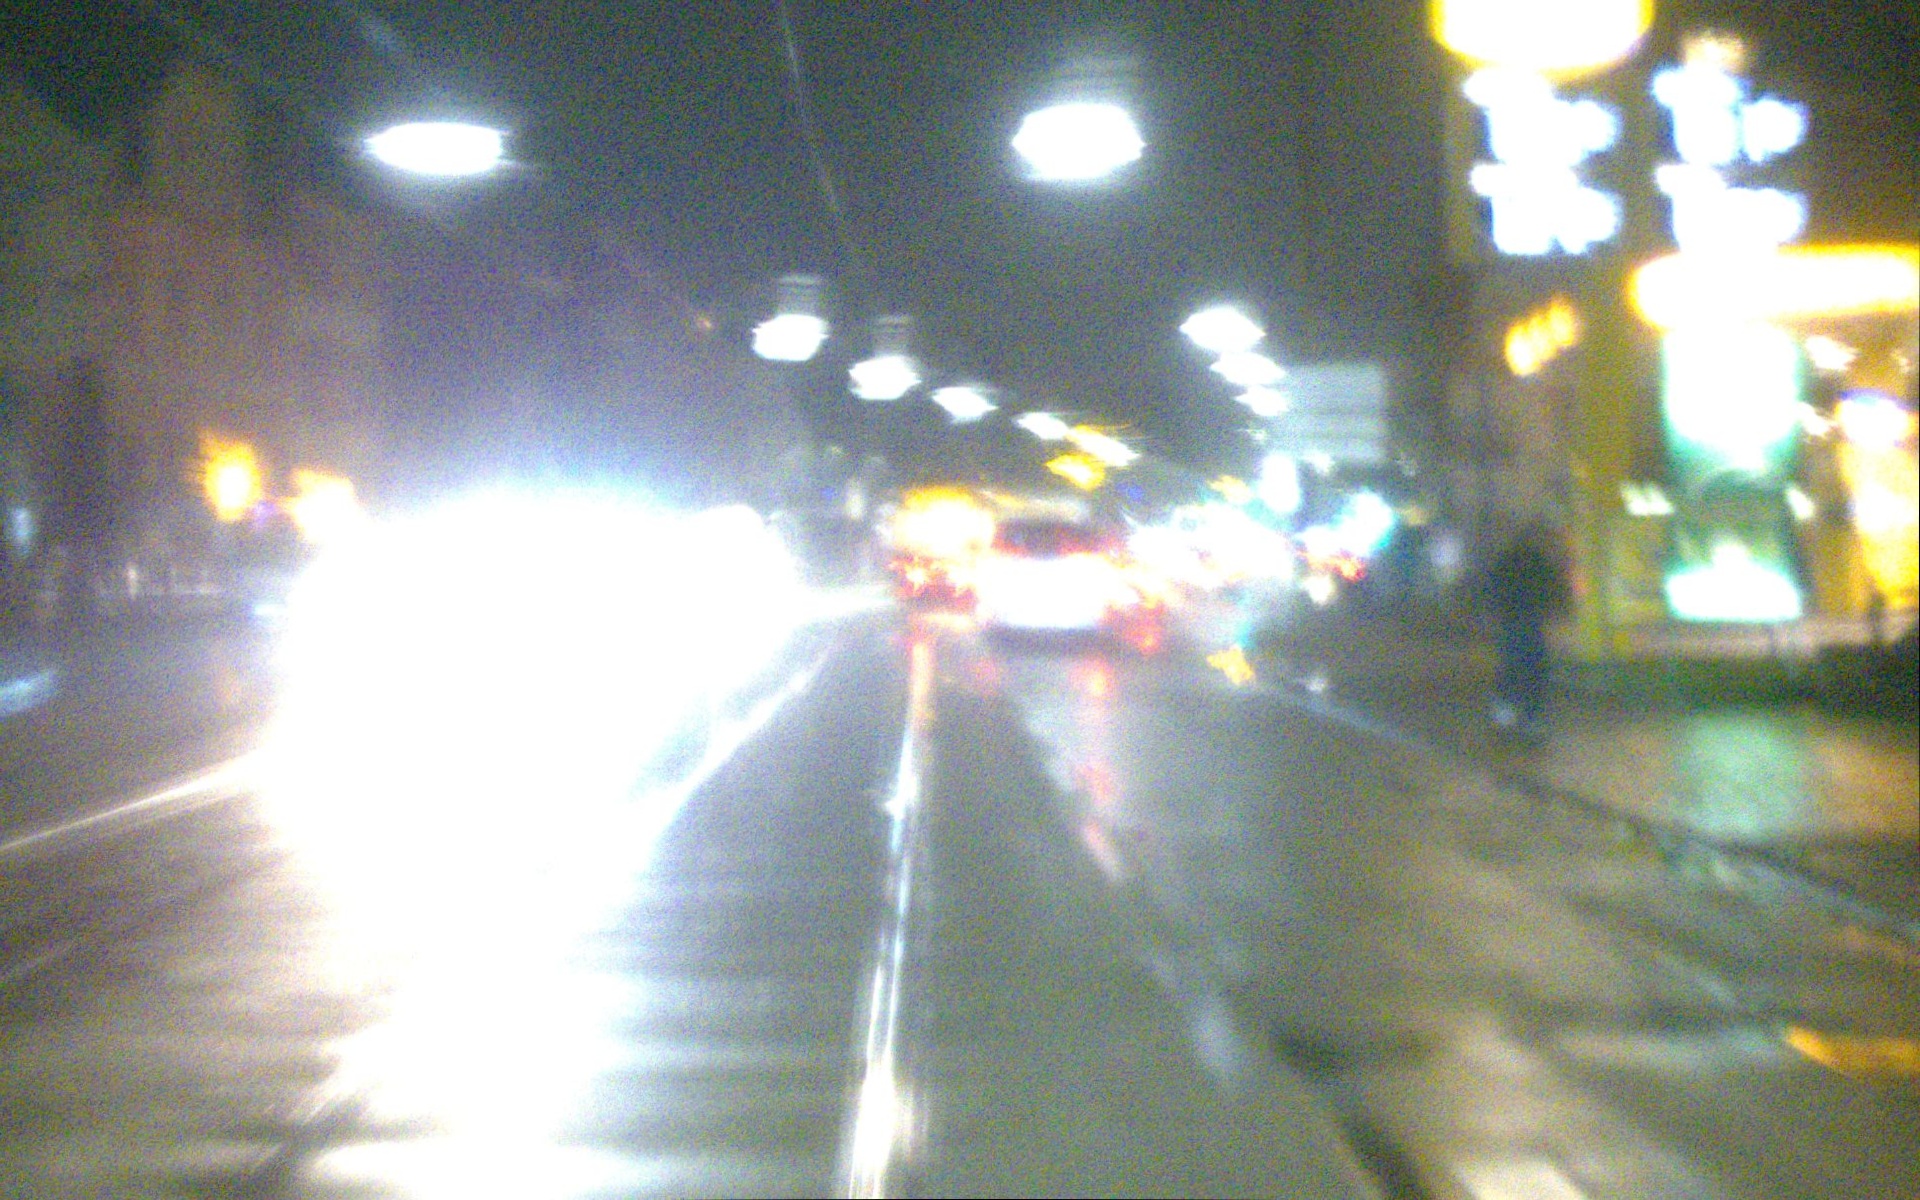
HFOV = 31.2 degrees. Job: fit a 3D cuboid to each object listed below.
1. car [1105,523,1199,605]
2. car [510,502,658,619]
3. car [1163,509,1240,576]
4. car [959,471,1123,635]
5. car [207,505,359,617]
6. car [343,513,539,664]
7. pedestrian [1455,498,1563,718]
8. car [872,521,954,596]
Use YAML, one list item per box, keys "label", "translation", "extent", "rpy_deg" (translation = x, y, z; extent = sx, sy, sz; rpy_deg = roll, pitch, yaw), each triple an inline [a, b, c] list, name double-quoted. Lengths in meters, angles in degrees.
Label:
- label: "car"
  translation: [4.335, -0.838, 78.022]
  extent: [2.016, 1.809, 4.000]
  rpy_deg: [0, 1, 2]
- label: "car"
  translation: [-6.444, -0.708, 59.412]
  extent: [2.319, 1.925, 4.964]
  rpy_deg: [0, 1, -4]
- label: "car"
  translation: [7.410, -1.767, 105.848]
  extent: [1.993, 2.007, 4.000]
  rpy_deg: [0, 1, -1]
- label: "car"
  translation: [1.165, -0.721, 51.896]
  extent: [2.244, 2.353, 4.394]
  rpy_deg: [0, 1, -2]
- label: "car"
  translation: [-12.544, -0.741, 63.911]
  extent: [1.993, 2.007, 4.000]
  rpy_deg: [0, 1, 1]
- label: "car"
  translation: [-6.192, -0.174, 41.404]
  extent: [1.993, 1.718, 4.077]
  rpy_deg: [0, 1, -4]
- label: "pedestrian"
  translation: [4.491, 0.054, 28.100]
  extent: [0.778, 1.770, 0.693]
  rpy_deg: [0, 1, 17]
- label: "car"
  translation: [-1.181, -1.043, 85.443]
  extent: [1.993, 1.809, 4.000]
  rpy_deg: [0, 1, -1]
